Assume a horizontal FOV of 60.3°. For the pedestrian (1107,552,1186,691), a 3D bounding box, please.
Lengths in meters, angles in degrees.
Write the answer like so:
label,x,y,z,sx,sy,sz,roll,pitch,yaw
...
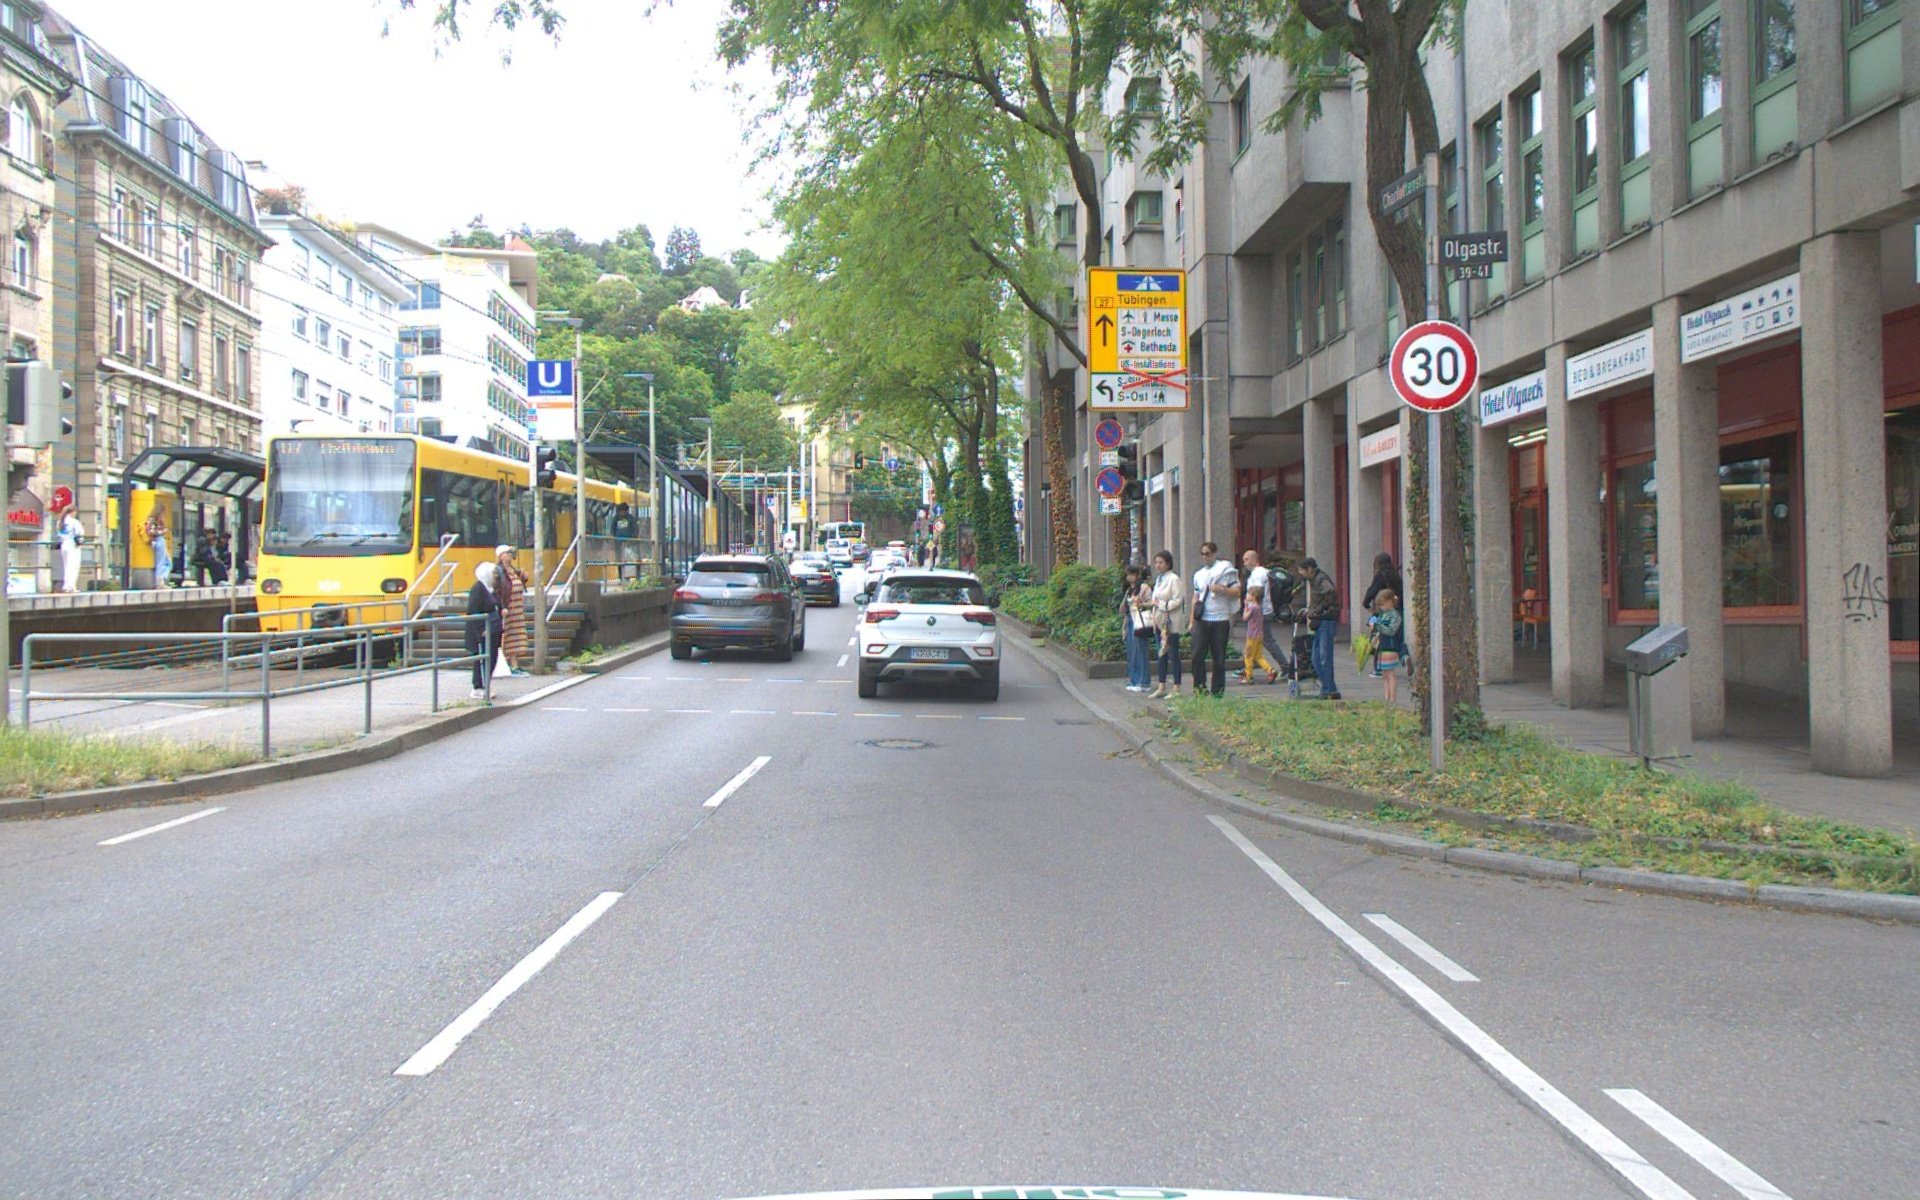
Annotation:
label,x,y,z,sx,sy,sz,roll,pitch,yaw
pedestrian,2.405,0.263,21.397,0.820,1.733,0.763,-2,1,-7

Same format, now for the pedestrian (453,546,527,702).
label,x,y,z,sx,sy,sz,roll,pitch,yaw
pedestrian,-5.335,0.258,18.814,0.622,1.741,0.871,0,1,-3

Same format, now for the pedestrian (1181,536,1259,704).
label,x,y,z,sx,sy,sz,roll,pitch,yaw
pedestrian,3.004,0.229,19.179,0.720,1.907,0.732,0,0,-7

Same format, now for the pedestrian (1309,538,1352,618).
label,x,y,z,sx,sy,sz,roll,pitch,yaw
pedestrian,8.218,-0.486,36.692,0.746,1.753,0.677,-1,0,-1

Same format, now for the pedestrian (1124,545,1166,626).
label,x,y,z,sx,sy,sz,roll,pitch,yaw
pedestrian,4.287,-0.346,38.357,0.748,1.813,0.847,-2,3,-8

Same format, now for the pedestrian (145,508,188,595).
label,x,y,z,sx,sy,sz,roll,pitch,yaw
pedestrian,-16.042,-0.985,33.440,0.624,1.741,0.688,0,1,-12

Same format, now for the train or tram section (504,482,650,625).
label,x,y,z,sx,sy,sz,roll,pitch,yaw
train or tram section,-10.280,-1.228,44.959,2.778,3.582,5.749,1,1,-2

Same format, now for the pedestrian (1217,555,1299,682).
label,x,y,z,sx,sy,sz,roll,pitch,yaw
pedestrian,3.804,0.233,21.149,0.820,1.590,0.763,1,0,-7

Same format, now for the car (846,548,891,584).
label,x,y,z,sx,sy,sz,roll,pitch,yaw
car,-5.563,-2.045,99.897,2.320,2.049,5.139,1,0,-8

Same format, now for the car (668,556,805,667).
label,x,y,z,sx,sy,sz,roll,pitch,yaw
car,-3.620,0.125,27.417,1.954,1.664,3.998,0,2,-4

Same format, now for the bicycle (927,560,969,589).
label,x,y,z,sx,sy,sz,roll,pitch,yaw
bicycle,-0.556,-1.205,78.014,1.841,1.288,0.765,1,0,8

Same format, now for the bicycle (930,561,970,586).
label,x,y,z,sx,sy,sz,roll,pitch,yaw
bicycle,-0.462,-1.264,79.512,1.841,1.157,0.808,1,0,3

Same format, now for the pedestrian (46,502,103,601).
label,x,y,z,sx,sy,sz,roll,pitch,yaw
pedestrian,-15.806,-0.867,29.522,0.674,1.741,0.661,0,1,-4

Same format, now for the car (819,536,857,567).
label,x,y,z,sx,sy,sz,roll,pitch,yaw
car,-8.825,-3.494,120.030,2.316,2.049,5.148,1,0,0

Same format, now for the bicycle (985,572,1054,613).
label,x,y,z,sx,sy,sz,roll,pitch,yaw
bicycle,1.689,-0.230,47.360,1.879,1.095,0.612,-2,1,-6

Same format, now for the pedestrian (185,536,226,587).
label,x,y,z,sx,sy,sz,roll,pitch,yaw
pedestrian,-16.685,-0.856,36.580,0.623,1.127,0.690,0,1,-3

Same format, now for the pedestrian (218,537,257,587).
label,x,y,z,sx,sy,sz,roll,pitch,yaw
pedestrian,-16.658,-0.878,38.150,0.623,1.127,0.690,0,1,-3

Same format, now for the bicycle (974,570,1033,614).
label,x,y,z,sx,sy,sz,roll,pitch,yaw
bicycle,1.216,-0.226,46.113,1.587,1.147,0.613,-2,1,1

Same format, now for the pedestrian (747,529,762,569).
label,x,y,z,sx,sy,sz,roll,pitch,yaw
pedestrian,-10.966,-2.719,88.365,0.748,2.049,0.836,1,0,-10

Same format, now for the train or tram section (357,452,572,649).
label,x,y,z,sx,sy,sz,roll,pitch,yaw
train or tram section,-9.832,-0.960,33.436,2.778,3.582,5.749,1,1,-2

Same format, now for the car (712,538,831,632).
label,x,y,z,sx,sy,sz,roll,pitch,yaw
car,-4.426,-0.338,39.638,2.317,2.049,5.147,1,0,-1

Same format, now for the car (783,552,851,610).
label,x,y,z,sx,sy,sz,roll,pitch,yaw
car,-4.553,-0.647,53.121,1.873,1.718,4.000,1,2,-1

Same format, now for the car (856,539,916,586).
label,x,y,z,sx,sy,sz,roll,pitch,yaw
car,-2.935,-1.450,64.583,1.850,1.713,4.152,1,0,-9

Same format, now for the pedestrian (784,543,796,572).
label,x,y,z,sx,sy,sz,roll,pitch,yaw
pedestrian,-12.223,-3.084,118.777,0.746,2.049,0.838,1,0,-3

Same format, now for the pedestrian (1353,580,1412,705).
label,x,y,z,sx,sy,sz,roll,pitch,yaw
pedestrian,4.647,0.462,18.211,0.462,1.357,0.519,1,0,-7

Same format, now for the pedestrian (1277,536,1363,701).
label,x,y,z,sx,sy,sz,roll,pitch,yaw
pedestrian,4.161,0.195,19.175,0.707,1.834,0.833,-2,3,-7

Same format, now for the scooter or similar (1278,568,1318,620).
label,x,y,z,sx,sy,sz,roll,pitch,yaw
scooter or similar,7.689,-0.137,37.621,0.837,1.129,0.765,-2,0,13

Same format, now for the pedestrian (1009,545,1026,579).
label,x,y,z,sx,sy,sz,roll,pitch,yaw
pedestrian,2.801,-1.856,80.867,0.627,1.636,0.583,1,0,-23

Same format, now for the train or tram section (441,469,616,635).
label,x,y,z,sx,sy,sz,roll,pitch,yaw
train or tram section,-10.067,-1.098,39.183,2.778,3.582,5.749,1,1,-2

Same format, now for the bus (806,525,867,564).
label,x,y,z,sx,sy,sz,roll,pitch,yaw
bus,-11.416,-5.022,151.148,3.315,3.118,13.274,1,0,-14

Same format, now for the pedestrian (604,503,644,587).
label,x,y,z,sx,sy,sz,roll,pitch,yaw
pedestrian,-7.174,-1.167,35.367,0.703,1.761,0.670,1,0,-2

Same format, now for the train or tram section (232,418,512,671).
label,x,y,z,sx,sy,sz,roll,pitch,yaw
train or tram section,-9.589,-0.877,27.677,2.778,3.743,5.749,1,1,-2

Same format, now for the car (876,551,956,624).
label,x,y,z,sx,sy,sz,roll,pitch,yaw
car,-1.156,-0.290,41.614,1.847,1.713,4.158,1,0,-3

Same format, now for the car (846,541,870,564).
label,x,y,z,sx,sy,sz,roll,pitch,yaw
car,-8.222,-3.843,133.207,1.847,1.713,4.159,1,0,-3

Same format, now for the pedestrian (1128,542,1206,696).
label,x,y,z,sx,sy,sz,roll,pitch,yaw
pedestrian,2.525,0.222,20.262,0.680,1.808,0.688,-4,1,-7

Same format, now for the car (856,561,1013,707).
label,x,y,z,sx,sy,sz,roll,pitch,yaw
car,-0.333,0.354,21.573,1.800,1.611,4.157,2,2,-1

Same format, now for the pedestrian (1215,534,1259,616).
label,x,y,z,sx,sy,sz,roll,pitch,yaw
pedestrian,6.343,-0.580,37.948,0.815,1.834,0.723,-2,1,-3

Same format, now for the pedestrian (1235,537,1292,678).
label,x,y,z,sx,sy,sz,roll,pitch,yaw
pedestrian,4.000,0.103,21.806,0.508,1.820,0.763,1,0,-7

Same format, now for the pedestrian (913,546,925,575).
label,x,y,z,sx,sy,sz,roll,pitch,yaw
pedestrian,-2.939,-2.818,118.423,0.746,2.049,0.838,1,0,2

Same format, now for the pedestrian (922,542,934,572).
label,x,y,z,sx,sy,sz,roll,pitch,yaw
pedestrian,-2.155,-2.897,111.578,0.746,2.049,0.838,1,0,2

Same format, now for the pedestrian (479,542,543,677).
label,x,y,z,sx,sy,sz,roll,pitch,yaw
pedestrian,-5.895,0.119,21.734,0.672,1.741,0.711,0,1,-3

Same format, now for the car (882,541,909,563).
label,x,y,z,sx,sy,sz,roll,pitch,yaw
car,-5.309,-3.914,135.272,1.849,1.713,4.154,1,0,-7

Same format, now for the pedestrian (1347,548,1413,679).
label,x,y,z,sx,sy,sz,roll,pitch,yaw
pedestrian,5.434,0.158,21.367,0.605,1.640,0.763,0,3,32
